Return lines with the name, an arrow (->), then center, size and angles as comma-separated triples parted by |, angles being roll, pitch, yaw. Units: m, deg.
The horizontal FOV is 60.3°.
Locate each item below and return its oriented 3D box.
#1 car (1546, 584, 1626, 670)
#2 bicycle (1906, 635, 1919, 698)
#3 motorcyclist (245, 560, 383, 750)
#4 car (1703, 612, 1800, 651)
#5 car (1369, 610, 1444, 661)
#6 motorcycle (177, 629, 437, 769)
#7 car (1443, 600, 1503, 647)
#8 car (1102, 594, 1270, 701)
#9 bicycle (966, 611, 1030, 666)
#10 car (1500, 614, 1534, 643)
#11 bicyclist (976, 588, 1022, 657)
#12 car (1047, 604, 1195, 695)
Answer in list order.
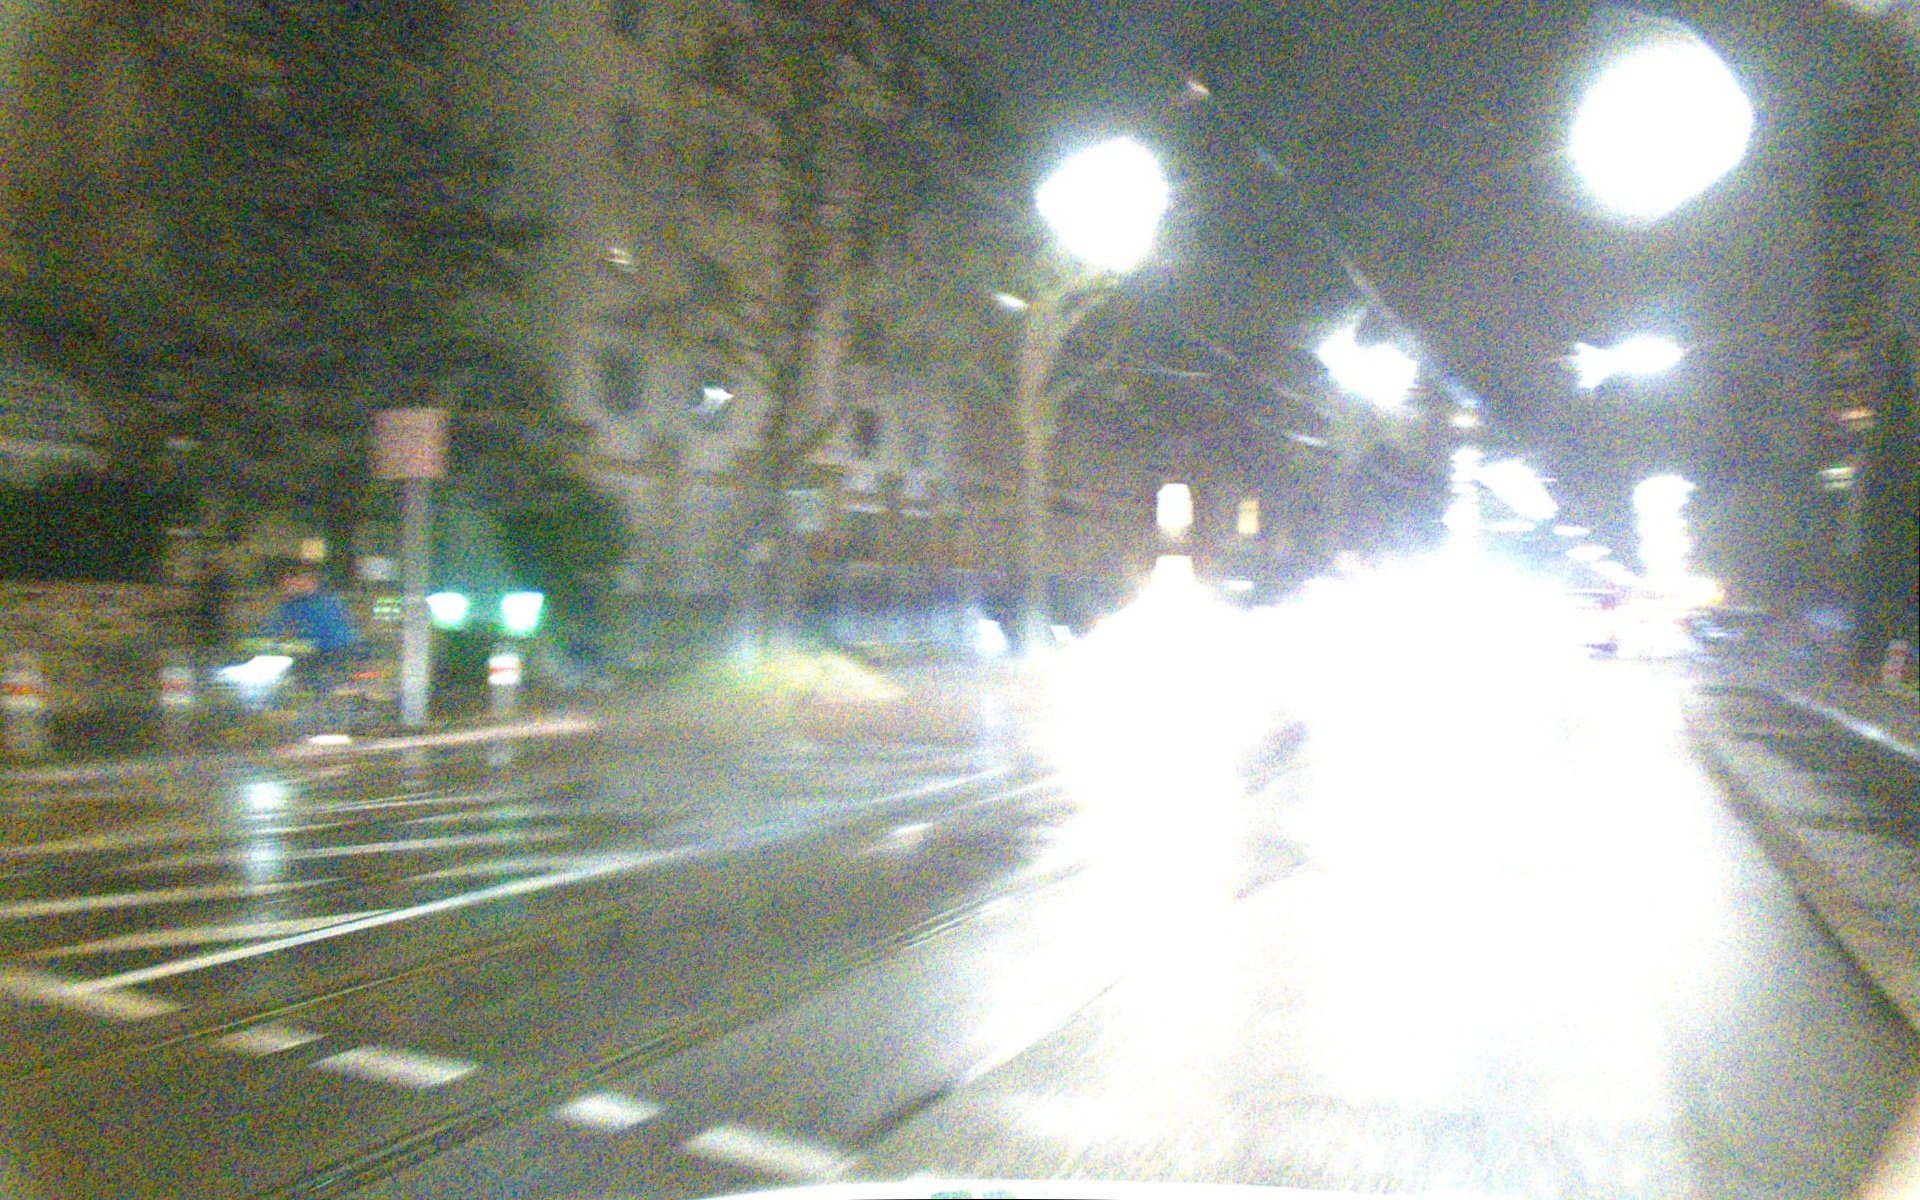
car -> 19.811, 0.838, 52.285 | 2.171, 2.484, 5.383 | 2, 0, 22
bicycle -> 18.836, 1.237, 31.045 | 1.776, 1.184, 0.493 | -2, -2, 22
motorcyclist -> -6.228, 0.528, 15.971 | 0.696, 1.761, 1.024 | -2, -2, 37
car -> 35.548, 1.413, 74.268 | 3.720, 1.483, 1.761 | 3, 0, -19
car -> 14.219, 1.098, 52.572 | 1.756, 1.490, 3.899 | 1, 0, 23
motorcycle -> -6.247, 0.919, 15.969 | 0.696, 1.252, 2.315 | -1, -2, 37
car -> 21.638, 0.986, 69.620 | 1.887, 1.912, 4.635 | -1, -1, 24
car -> 4.423, 0.881, 31.750 | 1.858, 1.902, 4.531 | 0, -1, 26
bicycle -> 0.869, 0.872, 37.257 | 0.642, 1.161, 1.895 | 4, 0, 26
car -> 30.145, 1.524, 89.462 | 1.617, 1.505, 4.206 | 0, -1, 20
bicyclist -> 0.890, 0.505, 37.259 | 0.642, 1.490, 0.867 | 3, 0, 26
car -> 3.939, 1.100, 39.522 | 1.954, 1.857, 5.307 | 4, 2, 23
